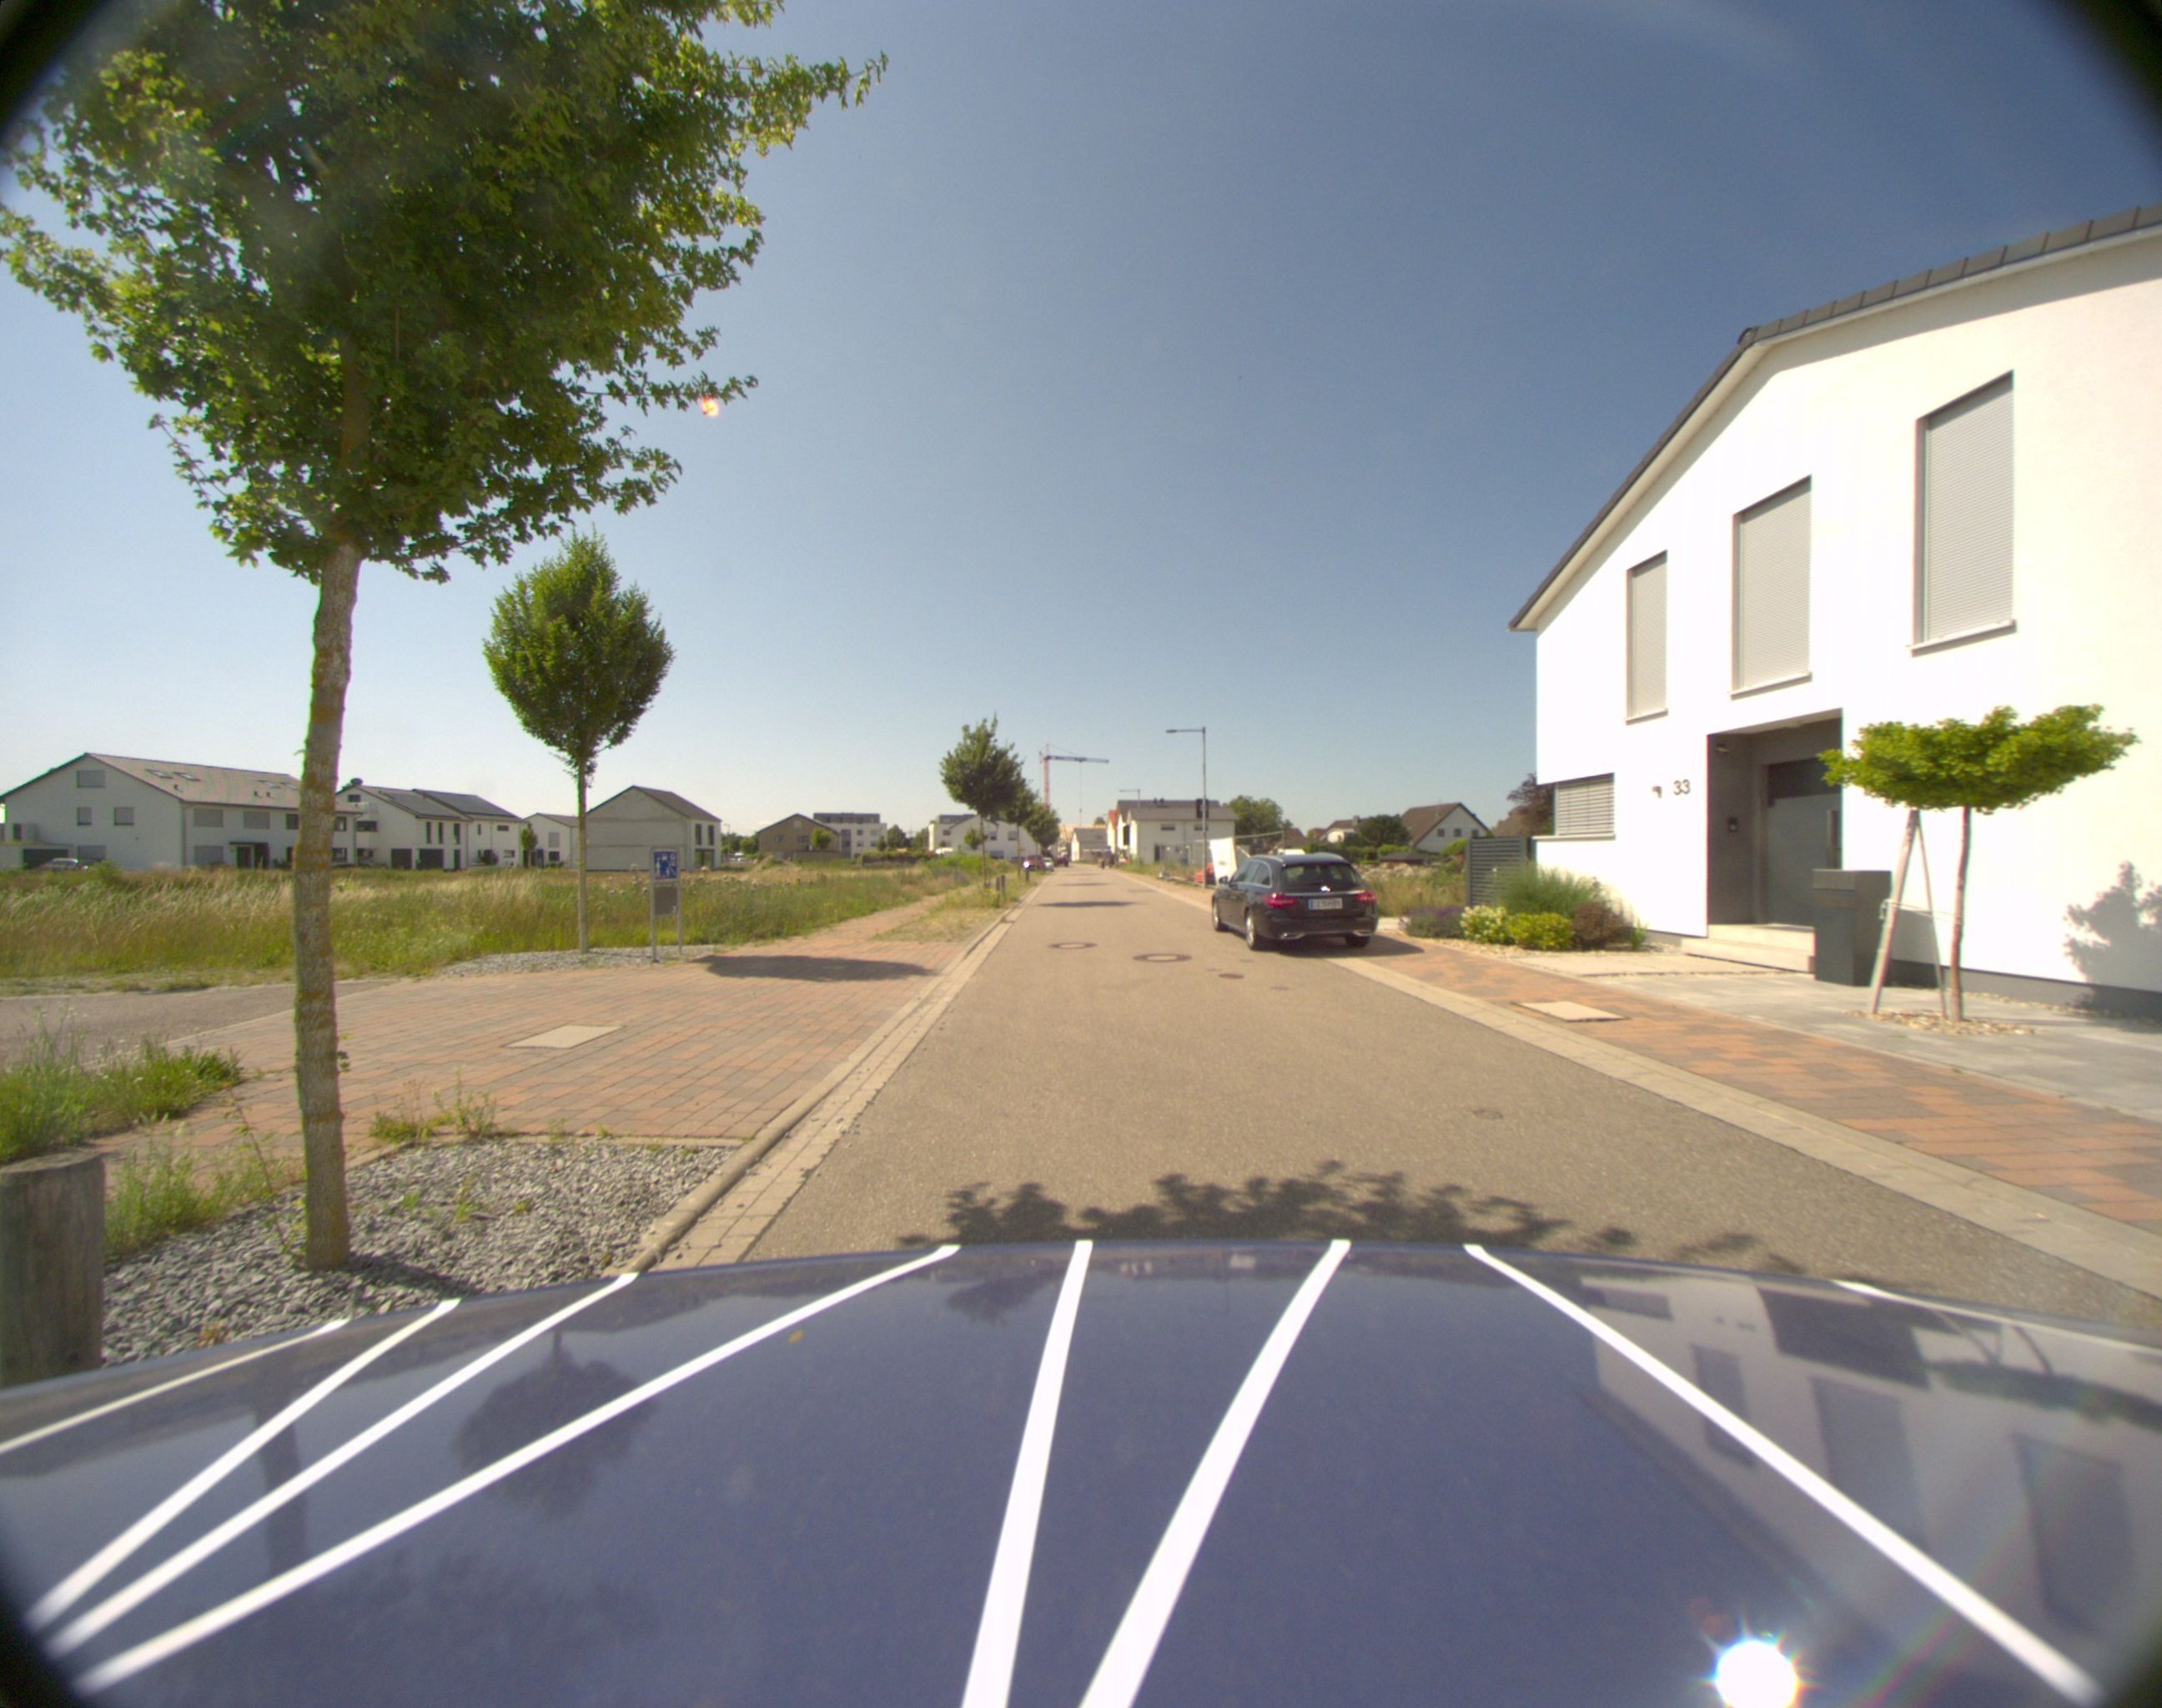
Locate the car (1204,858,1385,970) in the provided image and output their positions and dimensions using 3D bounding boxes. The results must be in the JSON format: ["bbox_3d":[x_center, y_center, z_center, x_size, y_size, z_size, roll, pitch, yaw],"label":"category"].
[{"bbox_3d":[3.319,0.844,12.738,1.695,1.464,4.444,-2,0,-1],"label":"car"}]

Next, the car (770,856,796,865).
[{"bbox_3d":[-52.305,1.151,133.409,4.000,1.444,1.633,-1,0,-9],"label":"car"}]

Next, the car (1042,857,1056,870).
[{"bbox_3d":[-3.498,1.037,84.339,1.493,1.389,3.272,-1,0,-1],"label":"car"}]

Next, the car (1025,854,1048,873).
[{"bbox_3d":[-3.768,0.773,64.236,1.769,1.483,3.999,-1,0,-1],"label":"car"}]
